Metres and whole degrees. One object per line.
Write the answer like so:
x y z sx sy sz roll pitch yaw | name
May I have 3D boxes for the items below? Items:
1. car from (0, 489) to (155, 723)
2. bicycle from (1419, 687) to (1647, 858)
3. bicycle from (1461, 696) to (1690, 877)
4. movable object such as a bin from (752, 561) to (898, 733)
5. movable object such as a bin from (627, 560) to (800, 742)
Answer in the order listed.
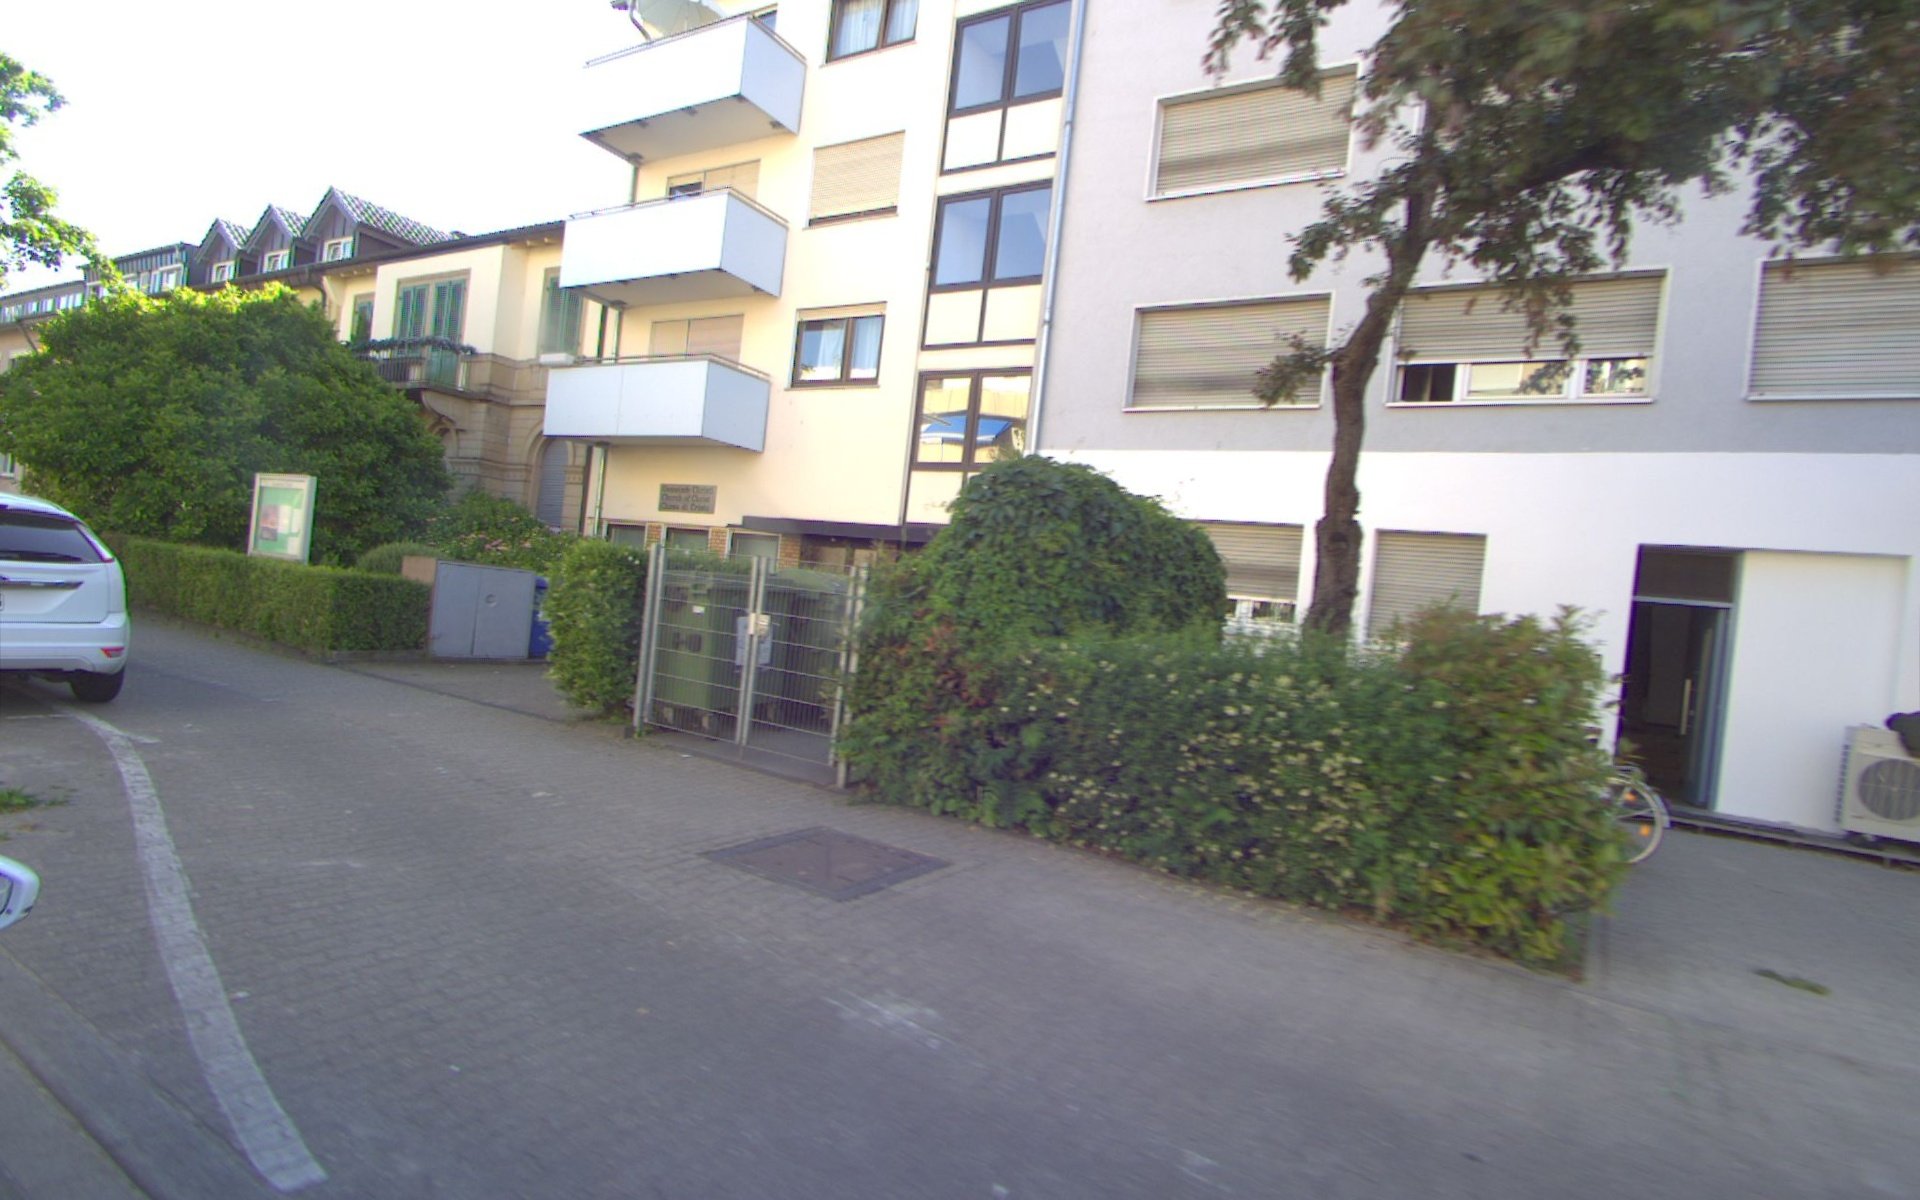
-7.918 -0.145 7.490 4.128 1.501 1.740 6 1 33 | car
4.774 1.395 8.440 1.515 1.109 0.532 7 1 34 | bicycle
4.687 1.387 7.722 1.362 1.095 0.372 7 2 34 | bicycle
-1.278 0.441 9.731 0.828 1.492 1.089 7 1 23 | movable object such as a bin
-2.089 0.408 8.640 0.828 1.373 1.140 7 2 23 | movable object such as a bin
